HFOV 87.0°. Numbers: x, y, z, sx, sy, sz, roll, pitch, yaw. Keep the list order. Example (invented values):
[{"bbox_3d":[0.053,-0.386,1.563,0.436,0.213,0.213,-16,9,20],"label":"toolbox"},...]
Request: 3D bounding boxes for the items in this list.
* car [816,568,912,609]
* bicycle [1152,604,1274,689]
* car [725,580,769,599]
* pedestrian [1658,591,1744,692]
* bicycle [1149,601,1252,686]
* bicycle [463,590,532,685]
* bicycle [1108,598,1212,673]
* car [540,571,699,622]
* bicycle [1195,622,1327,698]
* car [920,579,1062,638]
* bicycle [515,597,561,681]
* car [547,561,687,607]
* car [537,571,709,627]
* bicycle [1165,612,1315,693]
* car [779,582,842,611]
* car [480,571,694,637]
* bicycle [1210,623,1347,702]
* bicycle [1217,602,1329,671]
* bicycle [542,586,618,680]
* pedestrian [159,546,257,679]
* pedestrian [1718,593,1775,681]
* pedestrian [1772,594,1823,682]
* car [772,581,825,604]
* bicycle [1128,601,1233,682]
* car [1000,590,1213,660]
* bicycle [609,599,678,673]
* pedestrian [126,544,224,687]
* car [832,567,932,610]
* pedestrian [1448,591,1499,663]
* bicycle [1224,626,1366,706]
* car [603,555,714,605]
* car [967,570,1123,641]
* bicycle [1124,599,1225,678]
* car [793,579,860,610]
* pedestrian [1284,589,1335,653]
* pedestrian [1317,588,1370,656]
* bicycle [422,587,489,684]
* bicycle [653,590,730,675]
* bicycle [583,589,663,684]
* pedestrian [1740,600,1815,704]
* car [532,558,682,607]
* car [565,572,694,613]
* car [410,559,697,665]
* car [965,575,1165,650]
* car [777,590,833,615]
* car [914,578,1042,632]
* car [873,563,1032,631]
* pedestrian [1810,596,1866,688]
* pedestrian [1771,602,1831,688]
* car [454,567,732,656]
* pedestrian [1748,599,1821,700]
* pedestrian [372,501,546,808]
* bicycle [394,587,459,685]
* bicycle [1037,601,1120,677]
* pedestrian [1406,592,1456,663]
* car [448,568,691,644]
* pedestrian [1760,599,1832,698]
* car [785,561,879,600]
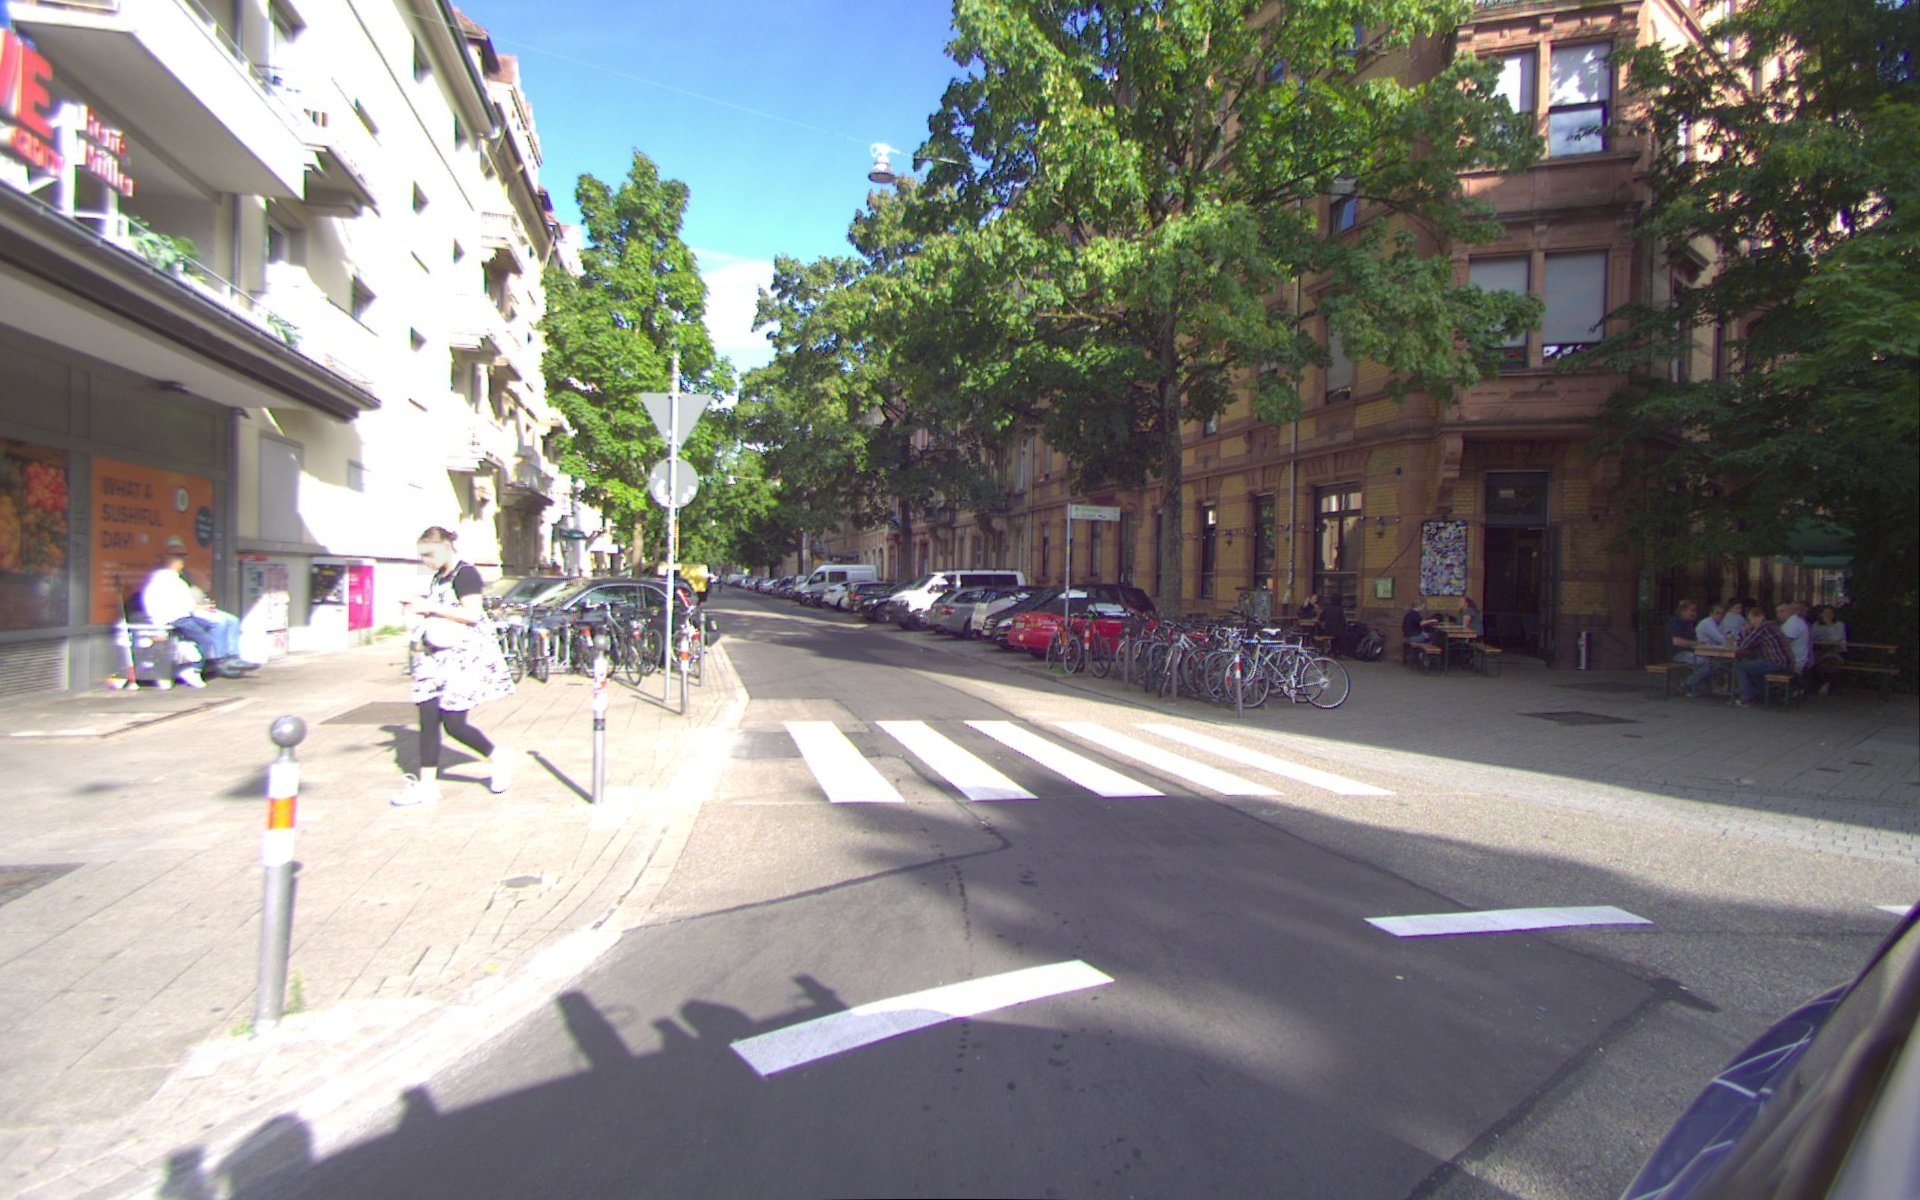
[{"bbox_3d":[-4.784,-0.593,50.201,4.366,1.856,1.941,-2,2,-17],"label":"car"},{"bbox_3d":[3.728,0.678,14.986,1.679,1.216,0.448,0,2,-1],"label":"bicycle"},{"bbox_3d":[-19.996,-0.983,94.853,3.916,1.754,1.833,1,0,-15],"label":"car"},{"bbox_3d":[10.615,0.585,14.522,0.656,1.396,0.718,1,1,-5],"label":"pedestrian"},{"bbox_3d":[3.744,0.654,15.711,1.678,1.216,0.449,-1,2,-28],"label":"bicycle"},{"bbox_3d":[-6.076,0.454,13.261,0.413,1.099,1.698,2,2,-38],"label":"bicycle"},{"bbox_3d":[3.407,0.596,17.256,1.677,1.216,0.449,-1,2,-10],"label":"bicycle"},{"bbox_3d":[-10.955,-0.103,32.798,4.550,1.514,1.747,2,0,-42],"label":"car"},{"bbox_3d":[4.143,0.815,13.969,1.679,0.999,0.448,0,2,-1],"label":"bicycle"},{"bbox_3d":[0.843,0.217,28.317,3.631,1.476,1.673,-2,0,-12],"label":"car"},{"bbox_3d":[-5.677,0.499,13.578,0.405,1.031,1.504,2,0,-28],"label":"bicycle"},{"bbox_3d":[-12.608,-0.573,37.370,4.550,1.514,1.747,2,0,-42],"label":"car"},{"bbox_3d":[-9.994,-0.005,30.217,4.550,1.514,1.747,2,0,-42],"label":"car"},{"bbox_3d":[3.966,0.741,14.414,2.006,1.102,0.448,0,2,-1],"label":"bicycle"},{"bbox_3d":[-9.968,-0.222,67.331,3.916,1.841,1.833,1,0,-15],"label":"car"},{"bbox_3d":[-8.948,0.122,24.545,4.550,1.452,1.747,2,0,-42],"label":"car"},{"bbox_3d":[4.241,0.824,13.538,1.679,0.999,0.448,0,2,-1],"label":"bicycle"},{"bbox_3d":[5.402,0.615,17.505,1.763,1.127,0.601,-1,2,-10],"label":"bicycle"},{"bbox_3d":[-5.314,0.426,14.083,0.406,1.190,1.852,2,0,-39],"label":"bicycle"},{"bbox_3d":[-8.916,0.139,12.029,0.738,1.524,0.669,1,1,-18],"label":"pedestrian"},{"bbox_3d":[12.317,0.564,15.864,0.543,1.317,0.616,2,2,27],"label":"pedestrian"},{"bbox_3d":[13.361,0.598,16.159,0.462,1.343,0.616,2,2,26],"label":"pedestrian"},{"bbox_3d":[-12.642,-0.602,79.183,3.916,1.754,1.833,1,0,-15],"label":"car"},{"bbox_3d":[3.542,0.642,16.233,1.677,1.216,0.449,-1,2,-23],"label":"bicycle"},{"bbox_3d":[3.002,0.471,20.858,4.026,1.286,1.571,-1,0,-16],"label":"car"},{"bbox_3d":[-4.774,0.523,15.210,0.484,1.014,1.422,2,0,-39],"label":"bicycle"},{"bbox_3d":[-8.723,0.163,11.277,0.654,1.524,0.755,1,1,-20],"label":"pedestrian"},{"bbox_3d":[-3.710,-0.580,48.154,4.366,1.856,1.941,-2,2,-17],"label":"car"},{"bbox_3d":[9.403,0.485,18.554,0.628,1.274,0.513,0,2,-7],"label":"pedestrian"},{"bbox_3d":[4.313,0.850,13.086,1.679,0.981,0.448,0,2,-1],"label":"bicycle"},{"bbox_3d":[-14.657,-0.944,49.418,2.141,2.249,4.734,1,0,44],"label":"car"},{"bbox_3d":[2.157,0.142,26.303,3.630,1.743,1.864,1,0,-12],"label":"car"},{"bbox_3d":[3.555,0.621,16.728,1.677,1.216,0.449,-1,2,-23],"label":"bicycle"},{"bbox_3d":[-8.513,-0.327,64.402,4.039,1.897,2.004,1,0,-14],"label":"car"},{"bbox_3d":[7.277,0.424,21.092,0.753,1.301,0.631,-1,1,-16],"label":"pedestrian"},{"bbox_3d":[7.691,0.429,20.289,0.753,1.301,0.631,-1,1,-16],"label":"pedestrian"},{"bbox_3d":[-6.483,0.424,12.968,0.413,1.099,1.698,2,2,-38],"label":"bicycle"},{"bbox_3d":[-4.146,0.471,15.541,0.406,1.190,1.852,2,0,-39],"label":"bicycle"},{"bbox_3d":[-4.685,0.467,13.993,0.406,1.190,1.852,2,0,-39],"label":"bicycle"},{"bbox_3d":[10.996,0.679,13.631,0.726,1.331,0.513,3,1,39],"label":"pedestrian"},{"bbox_3d":[-12.040,-0.565,34.701,4.550,1.514,1.747,2,0,-42],"label":"car"},{"bbox_3d":[-13.087,-0.278,40.280,4.550,1.514,1.747,2,0,-42],"label":"car"},{"bbox_3d":[-6.518,0.209,16.409,3.927,1.473,1.810,3,1,-39],"label":"car"},{"bbox_3d":[2.399,0.236,23.709,4.223,1.589,2.011,-1,1,-10],"label":"car"},{"bbox_3d":[-11.451,0.194,74.761,3.916,1.754,1.833,1,0,-15],"label":"car"},{"bbox_3d":[0.528,0.112,31.249,3.631,1.475,1.673,-2,2,-12],"label":"car"},{"bbox_3d":[-0.256,-0.144,33.426,4.809,2.013,2.052,-2,2,-17],"label":"car"},{"bbox_3d":[13.474,0.631,15.546,0.462,1.343,0.616,2,2,26],"label":"pedestrian"},{"bbox_3d":[12.824,0.674,15.445,0.543,1.247,0.616,2,2,27],"label":"pedestrian"},{"bbox_3d":[-6.811,0.204,19.200,1.948,1.473,4.597,1,0,40],"label":"car"},{"bbox_3d":[11.382,0.664,13.983,0.726,1.331,0.513,3,1,39],"label":"pedestrian"},{"bbox_3d":[-3.146,0.308,6.359,0.828,1.775,0.613,1,1,-41],"label":"pedestrian"},{"bbox_3d":[-6.769,0.421,12.807,0.413,1.099,1.698,2,2,-38],"label":"bicycle"},{"bbox_3d":[2.021,0.635,17.706,0.570,1.109,2.506,-3,2,-14],"label":"bicycle"},{"bbox_3d":[8.625,0.495,18.545,0.628,1.239,0.513,0,2,-7],"label":"pedestrian"},{"bbox_3d":[-8.195,0.131,21.599,1.743,1.452,4.561,1,0,40],"label":"car"},{"bbox_3d":[11.852,0.662,14.369,0.726,1.331,0.599,3,1,39],"label":"pedestrian"},{"bbox_3d":[-7.644,-1.132,60.248,5.367,2.229,2.004,1,0,-14],"label":"car"}]
